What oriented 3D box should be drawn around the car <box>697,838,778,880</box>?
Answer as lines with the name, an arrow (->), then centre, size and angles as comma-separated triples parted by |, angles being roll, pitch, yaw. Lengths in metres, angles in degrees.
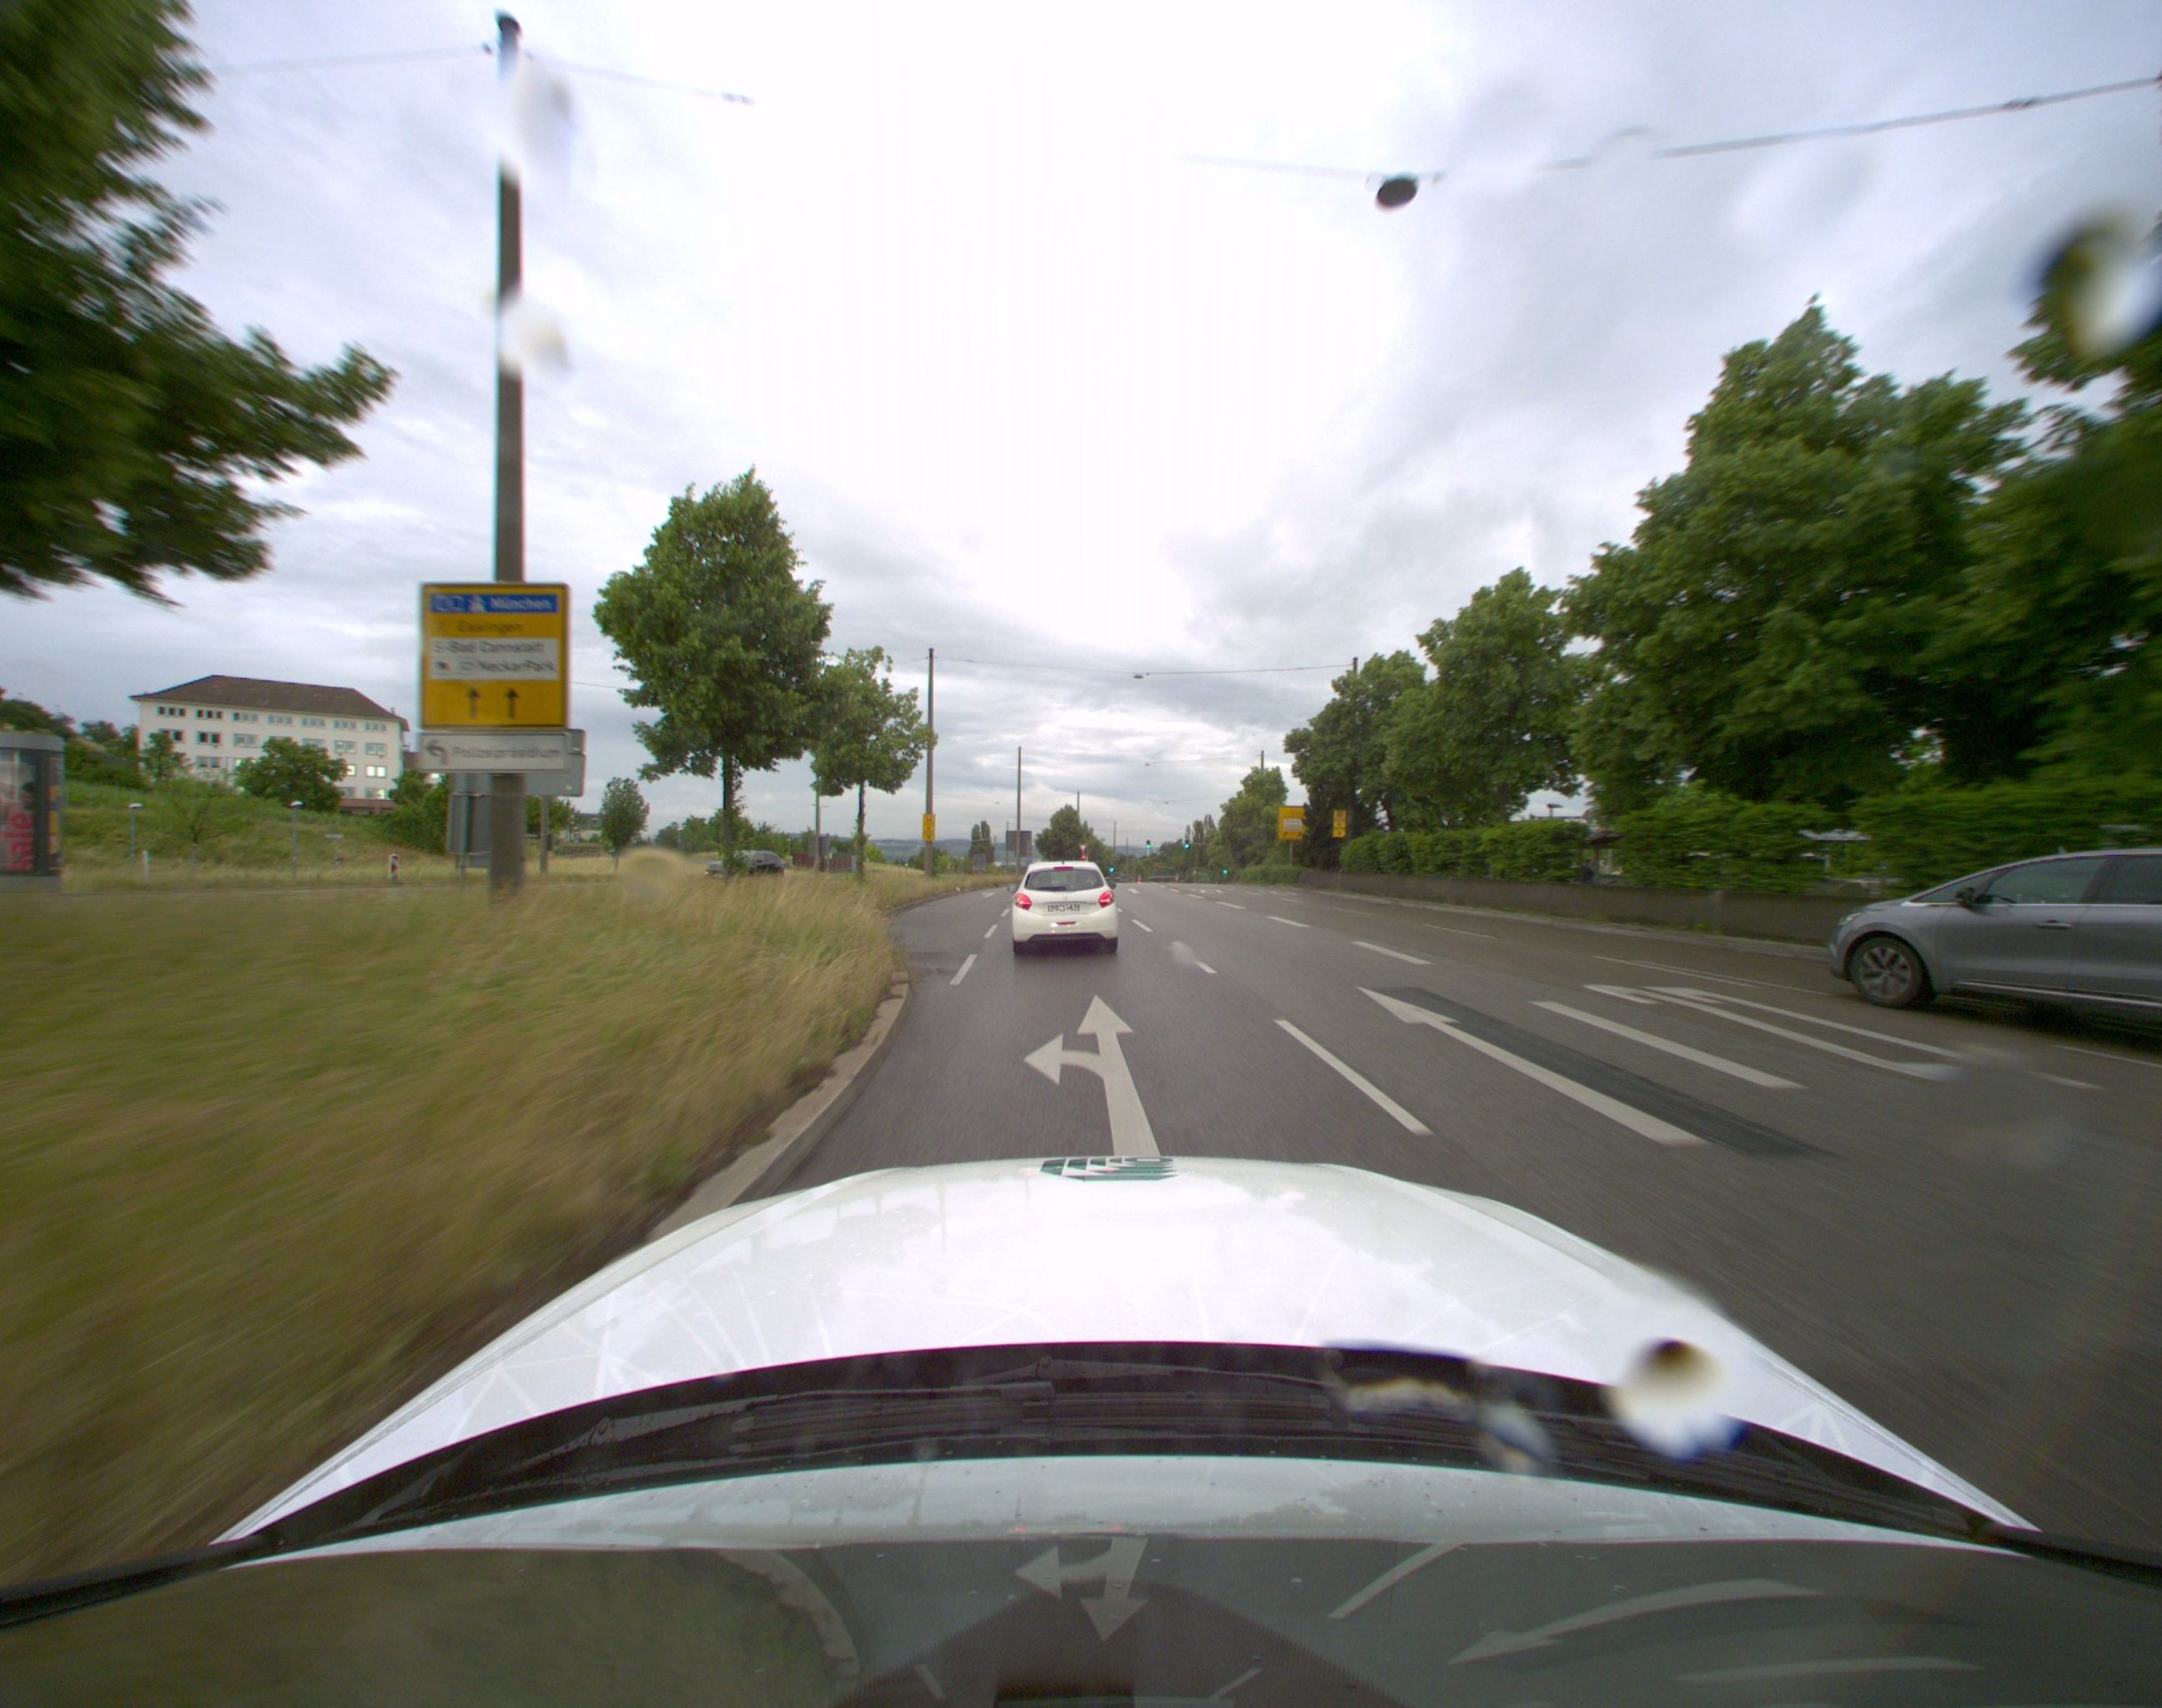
car -> -15.081, 0.217, 35.956 | 1.761, 1.750, 4.001 | 0, 0, 2

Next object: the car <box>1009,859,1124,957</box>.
car -> -0.295, 0.840, 14.199 | 1.704, 1.440, 3.686 | -1, -1, -3

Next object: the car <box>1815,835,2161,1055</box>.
car -> 9.013, 0.716, 6.767 | 1.719, 1.649, 4.625 | 2, -1, 1
